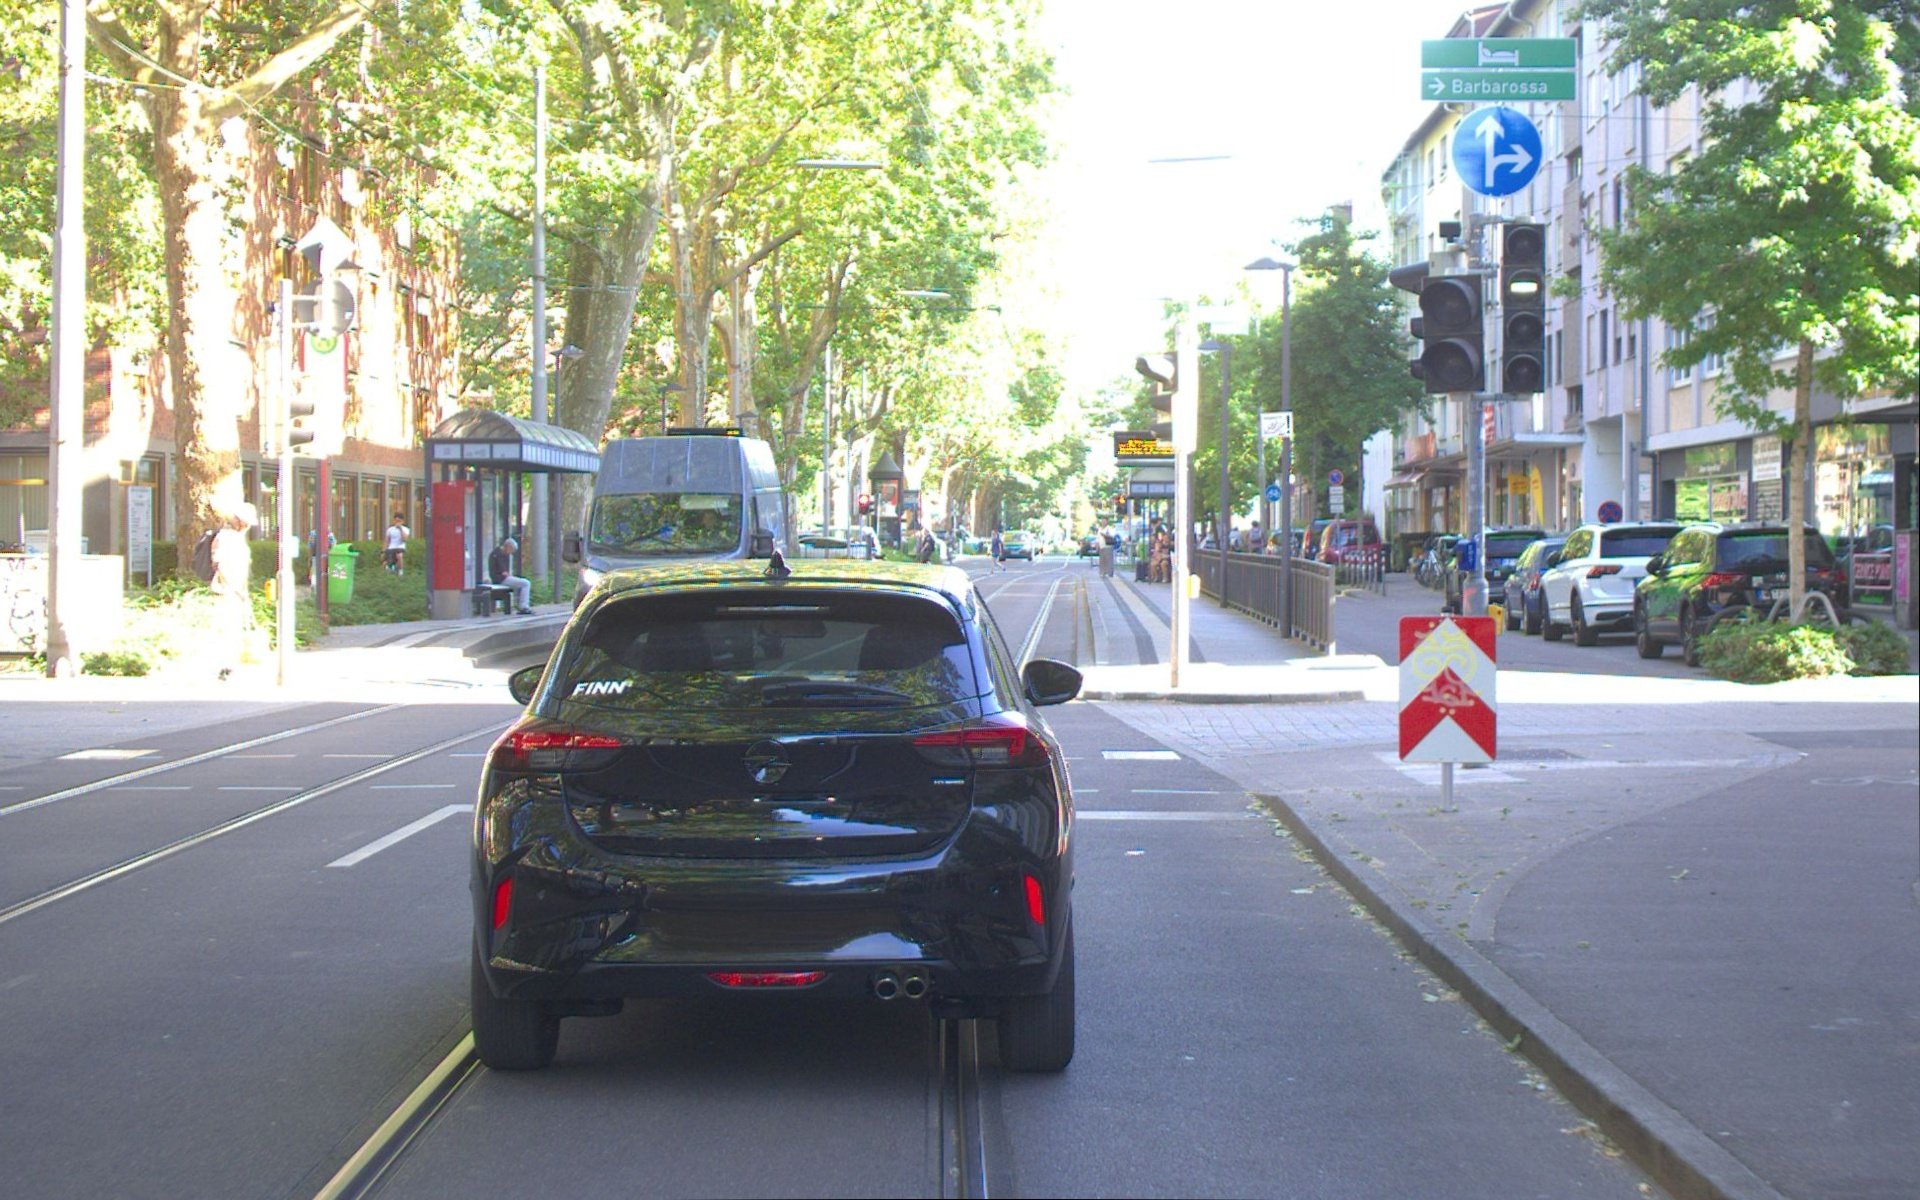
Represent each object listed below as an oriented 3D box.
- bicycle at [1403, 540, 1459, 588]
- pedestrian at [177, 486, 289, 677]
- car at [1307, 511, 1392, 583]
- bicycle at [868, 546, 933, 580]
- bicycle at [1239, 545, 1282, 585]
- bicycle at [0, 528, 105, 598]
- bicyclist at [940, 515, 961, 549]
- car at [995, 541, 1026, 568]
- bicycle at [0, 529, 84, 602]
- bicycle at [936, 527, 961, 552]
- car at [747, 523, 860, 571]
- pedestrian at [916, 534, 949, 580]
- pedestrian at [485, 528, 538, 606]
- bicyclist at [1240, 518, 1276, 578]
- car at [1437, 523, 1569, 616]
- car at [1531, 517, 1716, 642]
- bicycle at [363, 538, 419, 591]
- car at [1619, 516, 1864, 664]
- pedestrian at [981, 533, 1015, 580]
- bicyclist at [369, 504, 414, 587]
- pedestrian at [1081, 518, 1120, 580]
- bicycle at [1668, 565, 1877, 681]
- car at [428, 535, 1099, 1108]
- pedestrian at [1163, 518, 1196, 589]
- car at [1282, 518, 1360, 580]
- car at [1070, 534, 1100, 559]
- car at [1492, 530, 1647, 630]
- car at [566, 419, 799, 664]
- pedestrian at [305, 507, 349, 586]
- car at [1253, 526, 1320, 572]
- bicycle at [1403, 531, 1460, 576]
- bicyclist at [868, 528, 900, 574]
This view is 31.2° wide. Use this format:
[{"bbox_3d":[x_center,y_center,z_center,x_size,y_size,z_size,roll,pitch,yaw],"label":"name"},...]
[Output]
[{"bbox_3d":[11.444,-0.883,83.607,0.621,1.132,2.440,1,1,-9],"label":"bicycle"},{"bbox_3d":[-7.203,-0.191,34.094,0.924,1.829,0.920,1,3,-2],"label":"pedestrian"},{"bbox_3d":[11.045,-1.492,97.695,1.993,1.946,4.000,1,1,1],"label":"car"},{"bbox_3d":[-2.331,-1.446,134.383,2.480,1.236,0.958,1,0,-3],"label":"bicycle"},{"bbox_3d":[8.926,-1.044,102.181,0.861,1.132,2.396,1,1,-4],"label":"bicycle"},{"bbox_3d":[-16.405,-0.668,60.854,2.340,1.162,0.682,2,1,3],"label":"bicycle"},{"bbox_3d":[-0.505,-3.489,176.481,0.941,1.697,1.152,1,0,5],"label":"bicyclist"},{"bbox_3d":[2.898,-2.608,197.345,1.745,1.539,4.000,1,1,0],"label":"car"},{"bbox_3d":[-16.738,-0.635,60.447,2.458,1.215,0.682,3,1,3],"label":"bicycle"},{"bbox_3d":[-0.593,-3.071,175.580,0.955,1.236,2.977,1,1,5],"label":"bicycle"},{"bbox_3d":[-5.853,-1.975,128.113,4.113,1.695,1.884,1,1,-5],"label":"car"},{"bbox_3d":[-1.049,-1.636,130.844,1.163,1.742,0.958,1,0,-3],"label":"pedestrian"},{"bbox_3d":[-6.767,-0.500,51.893,0.705,1.164,0.659,-1,1,-1],"label":"pedestrian"},{"bbox_3d":[8.895,-1.557,102.619,0.861,1.753,1.054,1,0,-4],"label":"bicyclist"},{"bbox_3d":[9.977,-0.567,63.466,1.857,1.610,4.397,1,1,2],"label":"car"},{"bbox_3d":[9.101,-0.295,47.467,1.799,1.600,4.415,1,1,2],"label":"car"},{"bbox_3d":[-12.280,-0.777,74.225,0.782,1.107,2.596,1,1,-1],"label":"bicycle"},{"bbox_3d":[9.054,-0.134,40.180,1.993,1.610,4.445,-1,1,2],"label":"car"},{"bbox_3d":[1.447,-1.648,130.799,1.163,1.742,0.958,1,0,-3],"label":"pedestrian"},{"bbox_3d":[-12.261,-1.170,74.136,0.774,1.744,0.997,1,0,0],"label":"bicyclist"},{"bbox_3d":[3.955,-1.431,96.516,0.751,1.703,0.761,2,1,37],"label":"pedestrian"},{"bbox_3d":[8.749,0.244,37.077,2.127,1.183,0.681,1,0,10],"label":"bicycle"},{"bbox_3d":[-0.522,0.561,10.869,1.760,1.503,3.683,0,1,0],"label":"car"},{"bbox_3d":[4.947,-1.048,77.560,0.631,1.571,0.870,3,1,2],"label":"pedestrian"},{"bbox_3d":[10.936,-1.531,104.318,1.993,1.791,4.000,1,1,1],"label":"car"},{"bbox_3d":[8.105,-3.457,222.823,1.745,1.539,4.000,1,1,0],"label":"car"},{"bbox_3d":[9.338,-0.313,52.920,1.744,1.435,4.247,1,1,2],"label":"car"},{"bbox_3d":[-3.246,-0.688,41.508,2.114,2.729,6.114,0,1,2],"label":"car"},{"bbox_3d":[-13.562,-1.150,73.674,0.735,1.666,0.861,1,0,2],"label":"pedestrian"},{"bbox_3d":[11.058,-1.729,116.698,1.994,1.481,4.000,1,1,2],"label":"car"},{"bbox_3d":[12.185,-1.194,88.880,0.611,1.132,2.922,1,1,-9],"label":"bicycle"},{"bbox_3d":[-2.972,-1.912,134.343,1.163,1.742,0.958,1,0,-3],"label":"bicyclist"}]
